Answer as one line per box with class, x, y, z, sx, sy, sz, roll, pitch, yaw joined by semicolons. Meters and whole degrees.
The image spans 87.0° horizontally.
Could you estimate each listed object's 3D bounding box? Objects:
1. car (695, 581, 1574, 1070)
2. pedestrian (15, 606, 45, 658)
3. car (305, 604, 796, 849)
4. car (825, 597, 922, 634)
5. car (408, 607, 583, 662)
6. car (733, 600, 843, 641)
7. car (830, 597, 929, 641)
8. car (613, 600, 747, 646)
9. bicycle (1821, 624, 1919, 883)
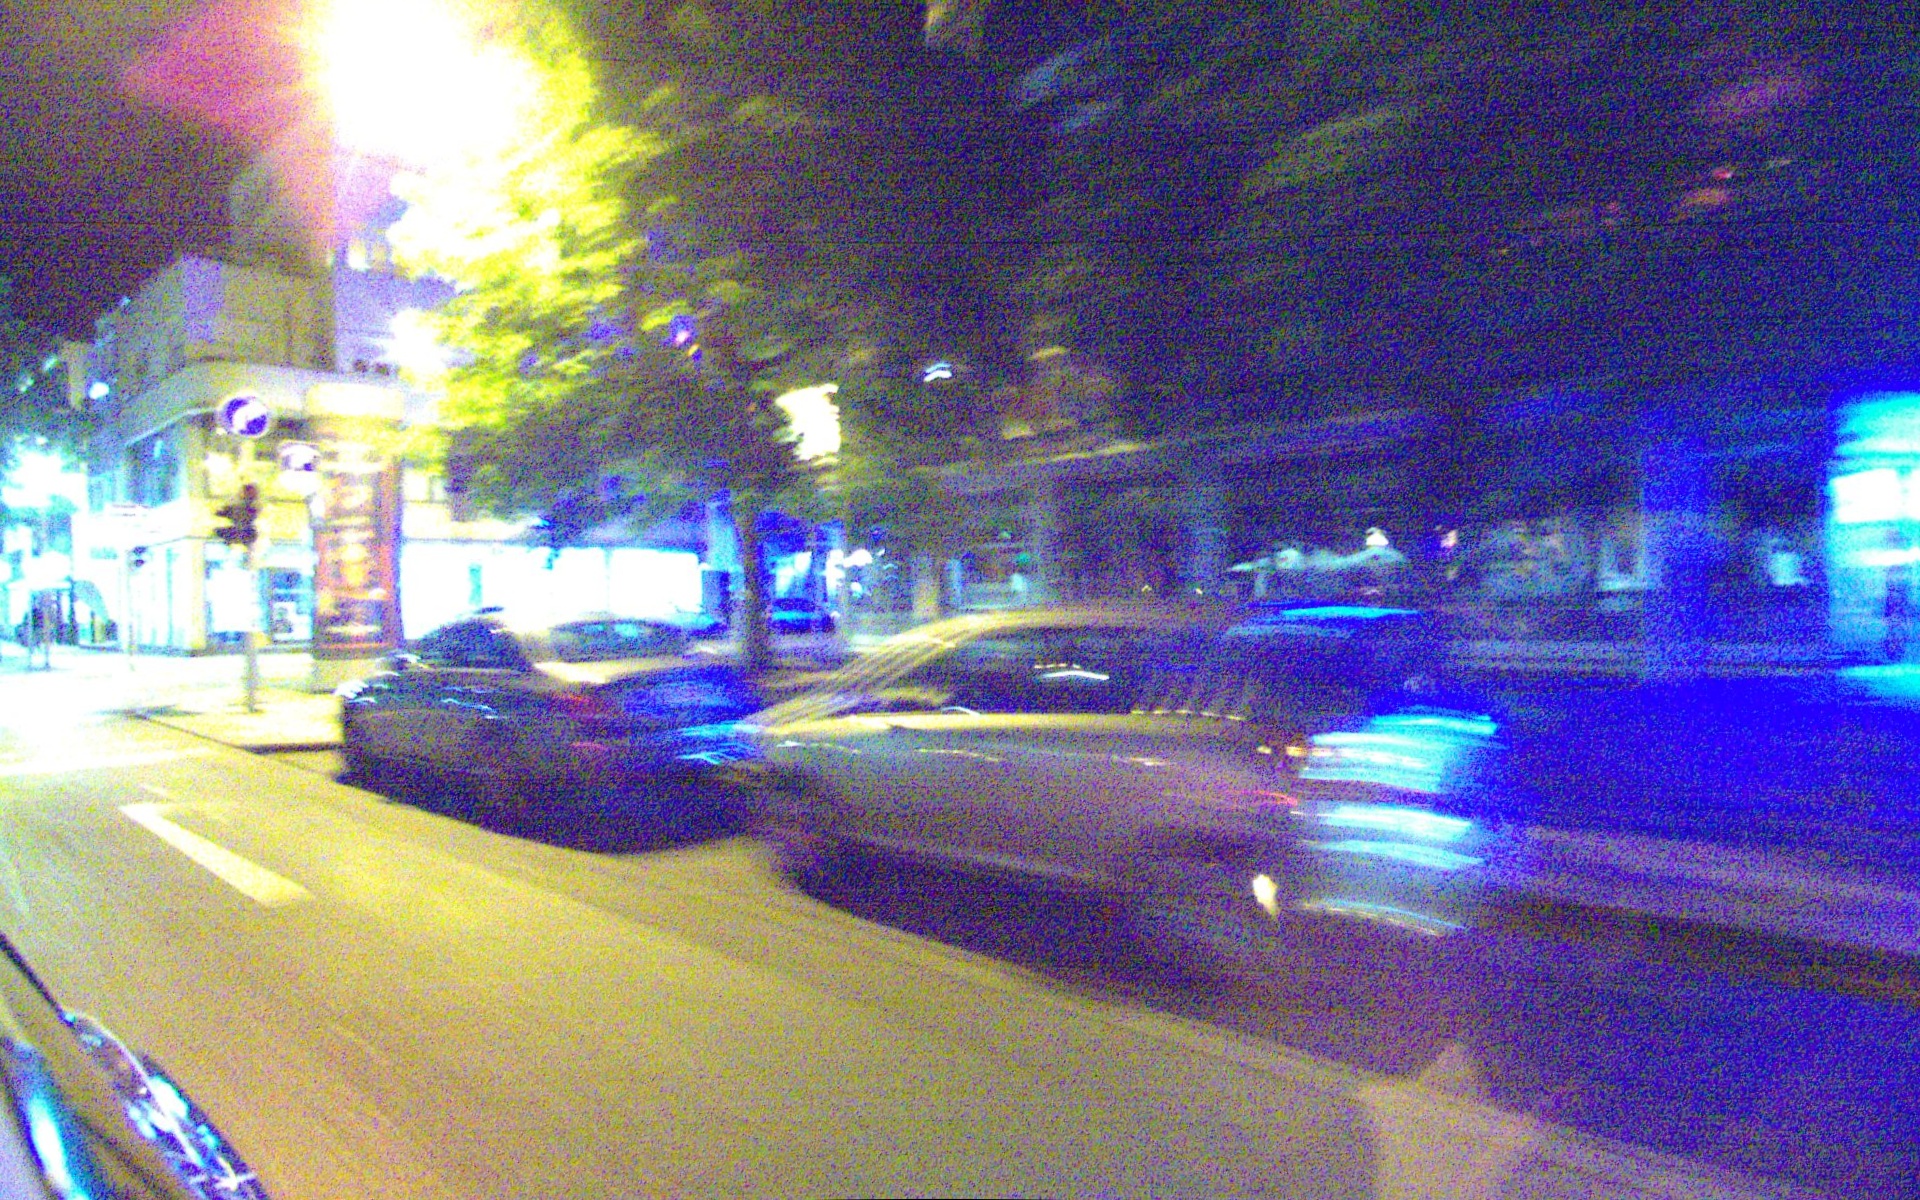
car;0.584;0.706;5.023;3.974;1.439;1.704;-1;1;41
pedestrian;-33.349;1.130;36.297;0.716;1.820;0.710;-1;-1;41
car;-3.687;0.825;8.550;4.918;1.435;1.788;-1;1;41
car;-3.538;0.624;41.744;1.802;1.406;3.859;-1;0;40
car;-13.486;0.954;29.591;1.802;1.408;4.285;-1;0;40
car;-6.460;0.741;38.247;1.802;1.406;3.859;-1;0;40
car;-2.665;0.623;33.903;1.658;1.395;3.060;-1;0;40
car;-9.473;0.748;34.488;1.802;1.448;4.094;-1;0;40
bicycle;4.665;0.674;5.047;0.532;1.007;1.832;-1;1;40
